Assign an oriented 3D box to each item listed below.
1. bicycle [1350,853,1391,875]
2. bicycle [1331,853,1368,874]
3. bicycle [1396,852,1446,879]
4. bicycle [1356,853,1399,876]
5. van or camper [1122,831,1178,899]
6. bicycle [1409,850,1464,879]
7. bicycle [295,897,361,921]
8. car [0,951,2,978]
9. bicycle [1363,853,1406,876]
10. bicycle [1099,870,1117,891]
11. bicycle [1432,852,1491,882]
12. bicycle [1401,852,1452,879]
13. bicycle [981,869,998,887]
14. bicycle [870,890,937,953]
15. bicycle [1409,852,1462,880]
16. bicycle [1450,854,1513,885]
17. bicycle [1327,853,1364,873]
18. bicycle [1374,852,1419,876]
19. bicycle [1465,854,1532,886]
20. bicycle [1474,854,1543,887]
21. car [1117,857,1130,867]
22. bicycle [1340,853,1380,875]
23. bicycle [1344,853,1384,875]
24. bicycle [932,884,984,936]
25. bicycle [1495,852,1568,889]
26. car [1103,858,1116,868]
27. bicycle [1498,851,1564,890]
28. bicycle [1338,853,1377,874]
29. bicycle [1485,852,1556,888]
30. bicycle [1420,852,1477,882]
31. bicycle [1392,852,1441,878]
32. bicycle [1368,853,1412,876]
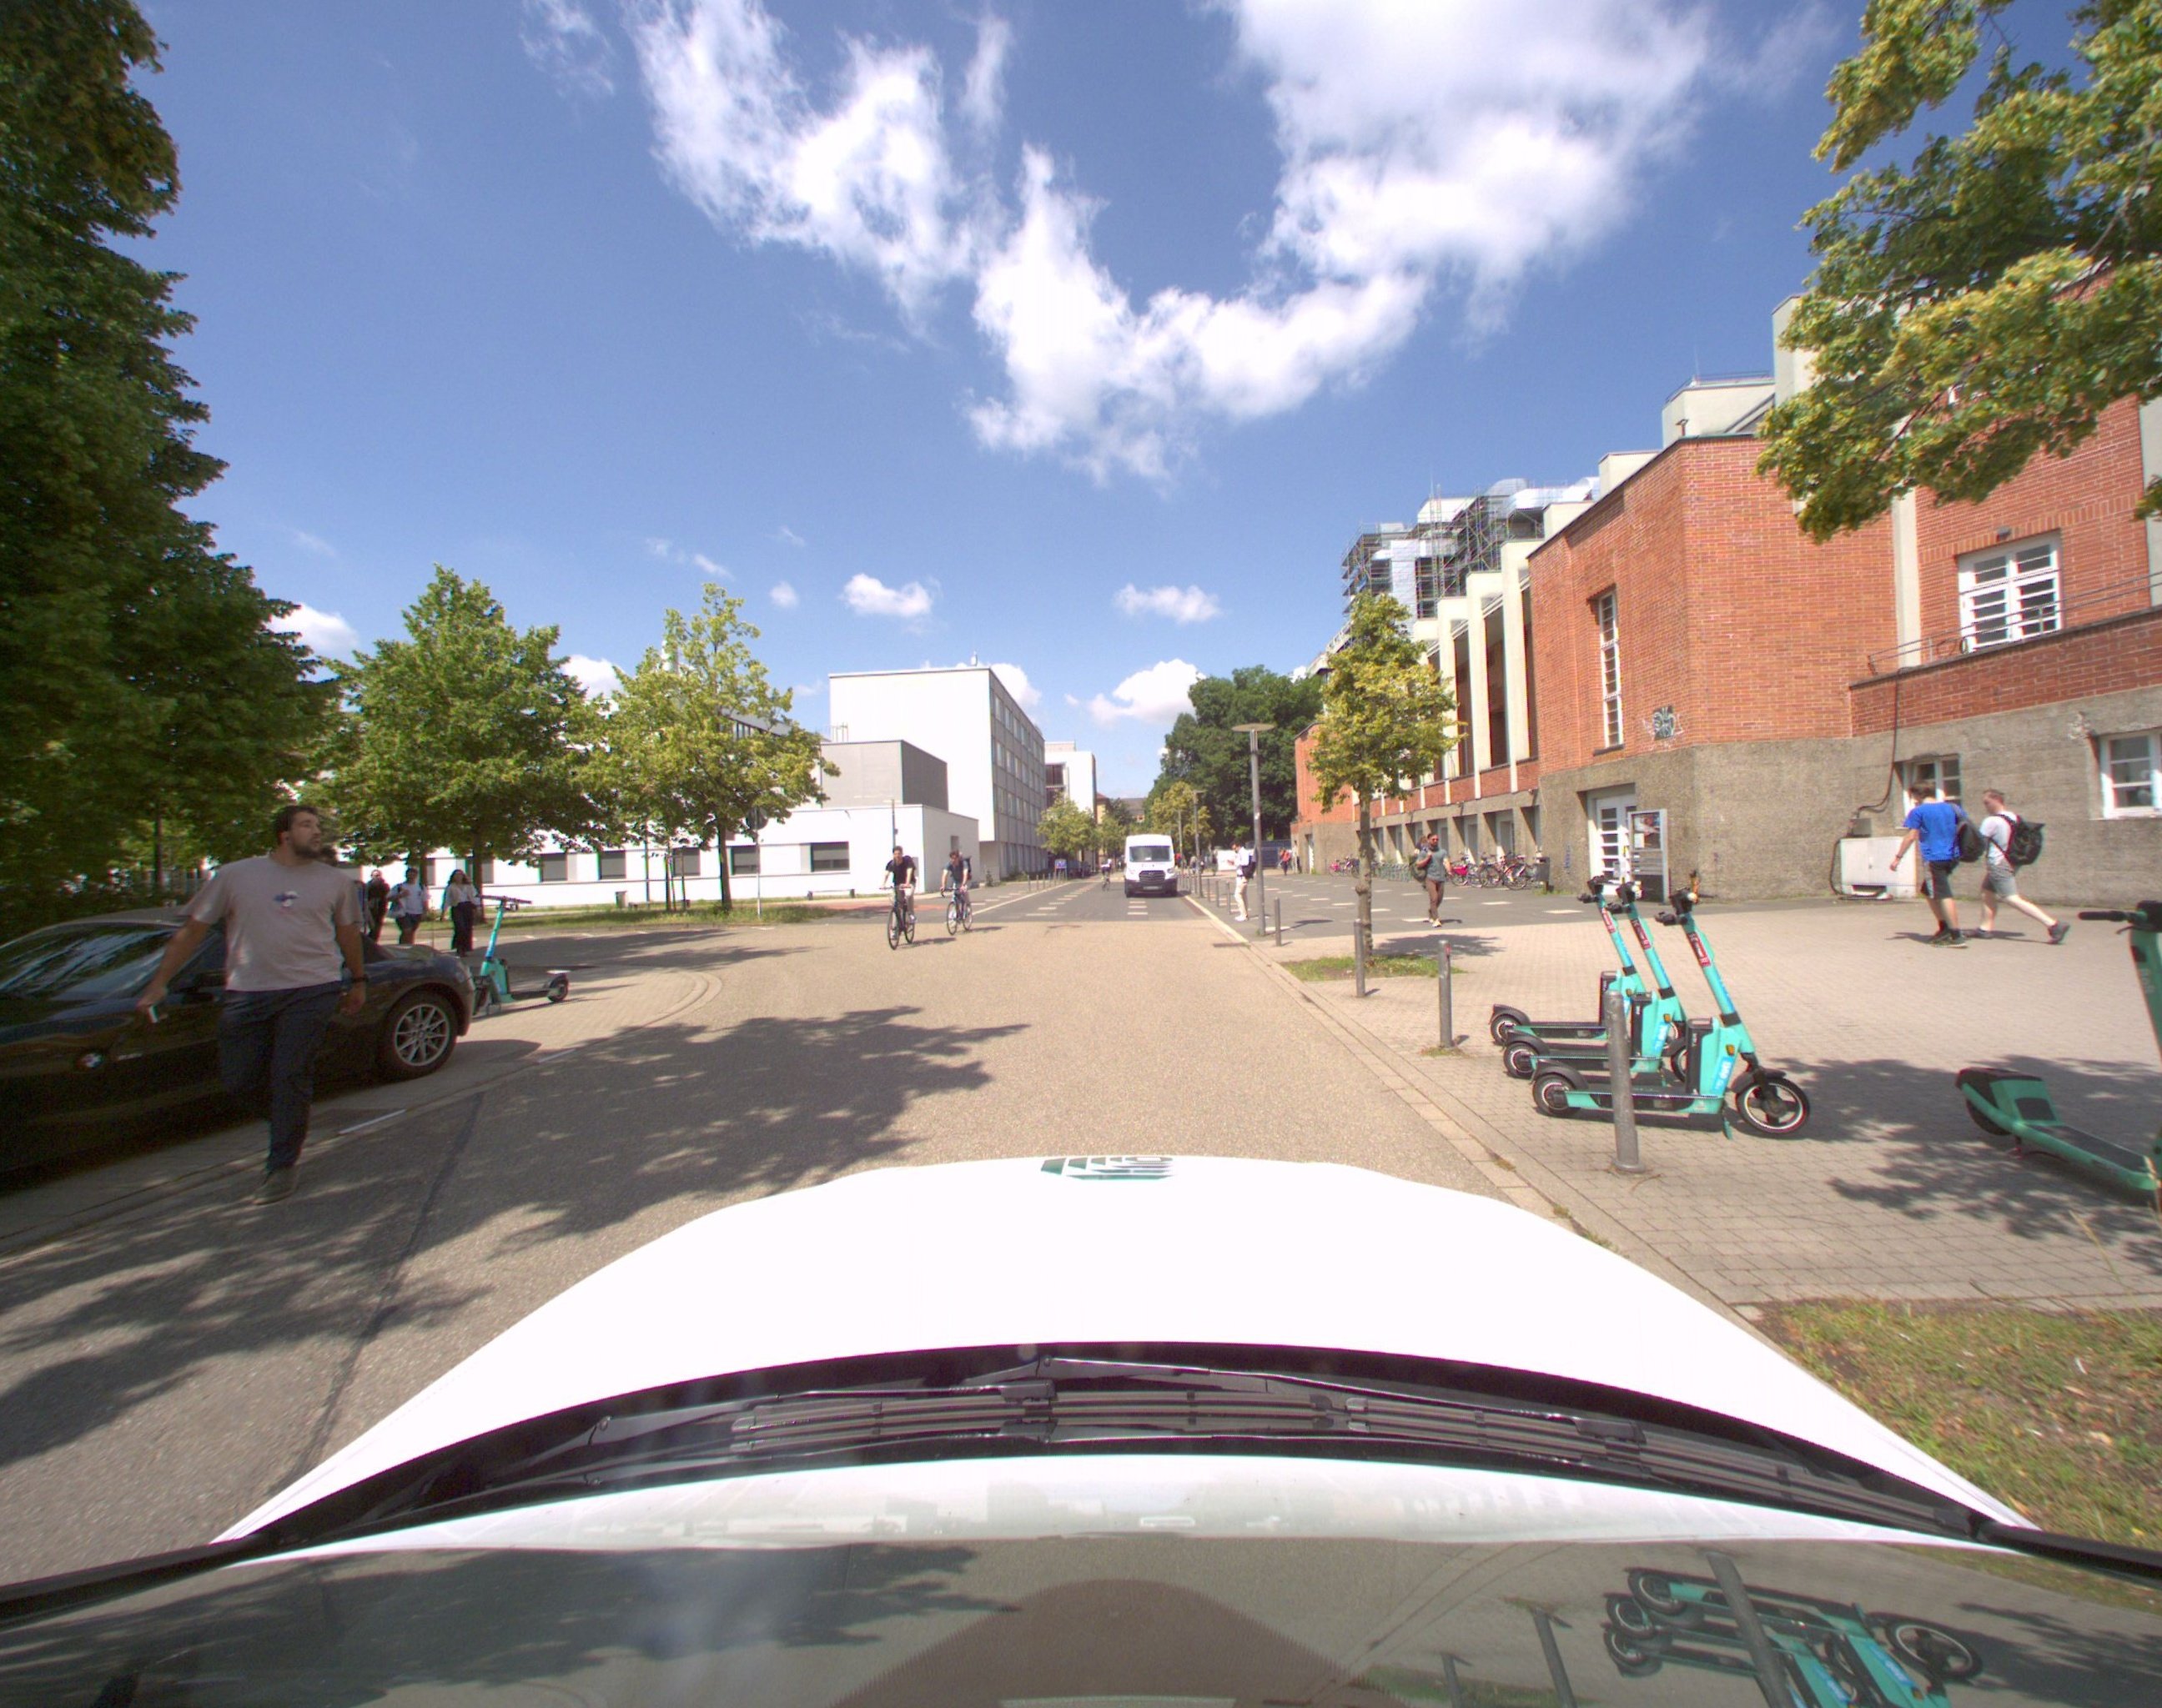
[{"bbox_3d":[14.339,0.500,40.349,1.801,0.985,0.560,-4,-1,3],"label":"bicycle"},{"bbox_3d":[14.570,0.504,44.217,1.801,0.985,0.560,-4,-1,3],"label":"bicycle"},{"bbox_3d":[14.184,0.469,34.028,1.801,0.985,0.560,-4,-1,3],"label":"bicycle"},{"bbox_3d":[14.411,0.511,39.612,1.801,0.985,0.560,-4,-1,3],"label":"bicycle"},{"bbox_3d":[2.772,0.449,32.766,1.984,2.446,4.575,-2,-1,5],"label":"van or camper"},{"bbox_3d":[13.647,0.401,31.259,1.801,0.985,0.560,-4,-1,3],"label":"bicycle"},{"bbox_3d":[-35.268,2.577,38.171,2.118,1.002,0.807,-1,-1,-12],"label":"bicycle"},{"bbox_3d":[-19.933,1.508,11.998,1.919,1.516,4.445,-5,0,3],"label":"car"},{"bbox_3d":[14.513,0.497,38.997,1.801,0.985,0.560,-4,-1,3],"label":"bicycle"},{"bbox_3d":[1.367,1.303,40.702,0.703,0.993,1.914,-2,0,7],"label":"bicycle"},{"bbox_3d":[13.668,0.464,29.292,1.801,0.985,0.560,-4,-1,3],"label":"bicycle"},{"bbox_3d":[14.177,0.470,33.425,1.801,0.985,0.560,-4,-1,3],"label":"bicycle"},{"bbox_3d":[-5.385,1.413,47.904,0.520,0.985,1.636,-4,-1,8],"label":"bicycle"},{"bbox_3d":[-3.140,1.168,14.601,0.674,0.965,2.004,-1,0,2],"label":"bicycle"},{"bbox_3d":[14.135,0.485,32.519,1.801,0.985,0.560,-4,-1,3],"label":"bicycle"},{"bbox_3d":[13.527,0.514,27.532,1.801,0.912,0.560,-4,-1,3],"label":"bicycle"},{"bbox_3d":[14.665,0.511,45.177,1.801,0.985,0.560,-4,-1,3],"label":"bicycle"},{"bbox_3d":[14.618,0.460,37.789,1.801,0.985,0.560,-4,-1,3],"label":"bicycle"},{"bbox_3d":[13.392,0.507,26.131,1.801,0.912,0.560,-4,-1,3],"label":"bicycle"},{"bbox_3d":[13.254,0.499,25.281,1.801,0.912,0.560,-4,-1,3],"label":"bicycle"},{"bbox_3d":[7.099,1.293,135.250,1.785,1.530,4.009,-3,0,8],"label":"car"},{"bbox_3d":[14.340,0.511,41.887,1.801,0.985,0.560,-4,-1,3],"label":"bicycle"},{"bbox_3d":[14.309,0.516,41.181,1.801,0.985,0.560,-4,-1,3],"label":"bicycle"},{"bbox_3d":[-2.552,1.148,17.108,0.674,0.965,2.004,-1,0,3],"label":"bicycle"},{"bbox_3d":[13.270,0.480,24.027,1.783,0.969,0.560,-3,-1,3],"label":"bicycle"},{"bbox_3d":[4.758,1.511,136.281,1.785,1.530,4.009,-3,0,8],"label":"car"},{"bbox_3d":[12.930,0.463,23.413,1.528,1.033,0.560,-3,-1,3],"label":"bicycle"},{"bbox_3d":[14.399,0.501,42.449,1.801,0.985,0.560,-4,-1,3],"label":"bicycle"},{"bbox_3d":[13.306,0.478,24.671,1.776,0.978,0.560,-3,-1,2],"label":"bicycle"},{"bbox_3d":[13.636,0.463,30.245,1.801,0.985,0.560,-4,-1,3],"label":"bicycle"},{"bbox_3d":[14.240,0.463,34.614,1.801,0.985,0.560,-4,-1,3],"label":"bicycle"},{"bbox_3d":[14.553,0.489,38.405,1.801,0.985,0.560,-4,-1,3],"label":"bicycle"}]
